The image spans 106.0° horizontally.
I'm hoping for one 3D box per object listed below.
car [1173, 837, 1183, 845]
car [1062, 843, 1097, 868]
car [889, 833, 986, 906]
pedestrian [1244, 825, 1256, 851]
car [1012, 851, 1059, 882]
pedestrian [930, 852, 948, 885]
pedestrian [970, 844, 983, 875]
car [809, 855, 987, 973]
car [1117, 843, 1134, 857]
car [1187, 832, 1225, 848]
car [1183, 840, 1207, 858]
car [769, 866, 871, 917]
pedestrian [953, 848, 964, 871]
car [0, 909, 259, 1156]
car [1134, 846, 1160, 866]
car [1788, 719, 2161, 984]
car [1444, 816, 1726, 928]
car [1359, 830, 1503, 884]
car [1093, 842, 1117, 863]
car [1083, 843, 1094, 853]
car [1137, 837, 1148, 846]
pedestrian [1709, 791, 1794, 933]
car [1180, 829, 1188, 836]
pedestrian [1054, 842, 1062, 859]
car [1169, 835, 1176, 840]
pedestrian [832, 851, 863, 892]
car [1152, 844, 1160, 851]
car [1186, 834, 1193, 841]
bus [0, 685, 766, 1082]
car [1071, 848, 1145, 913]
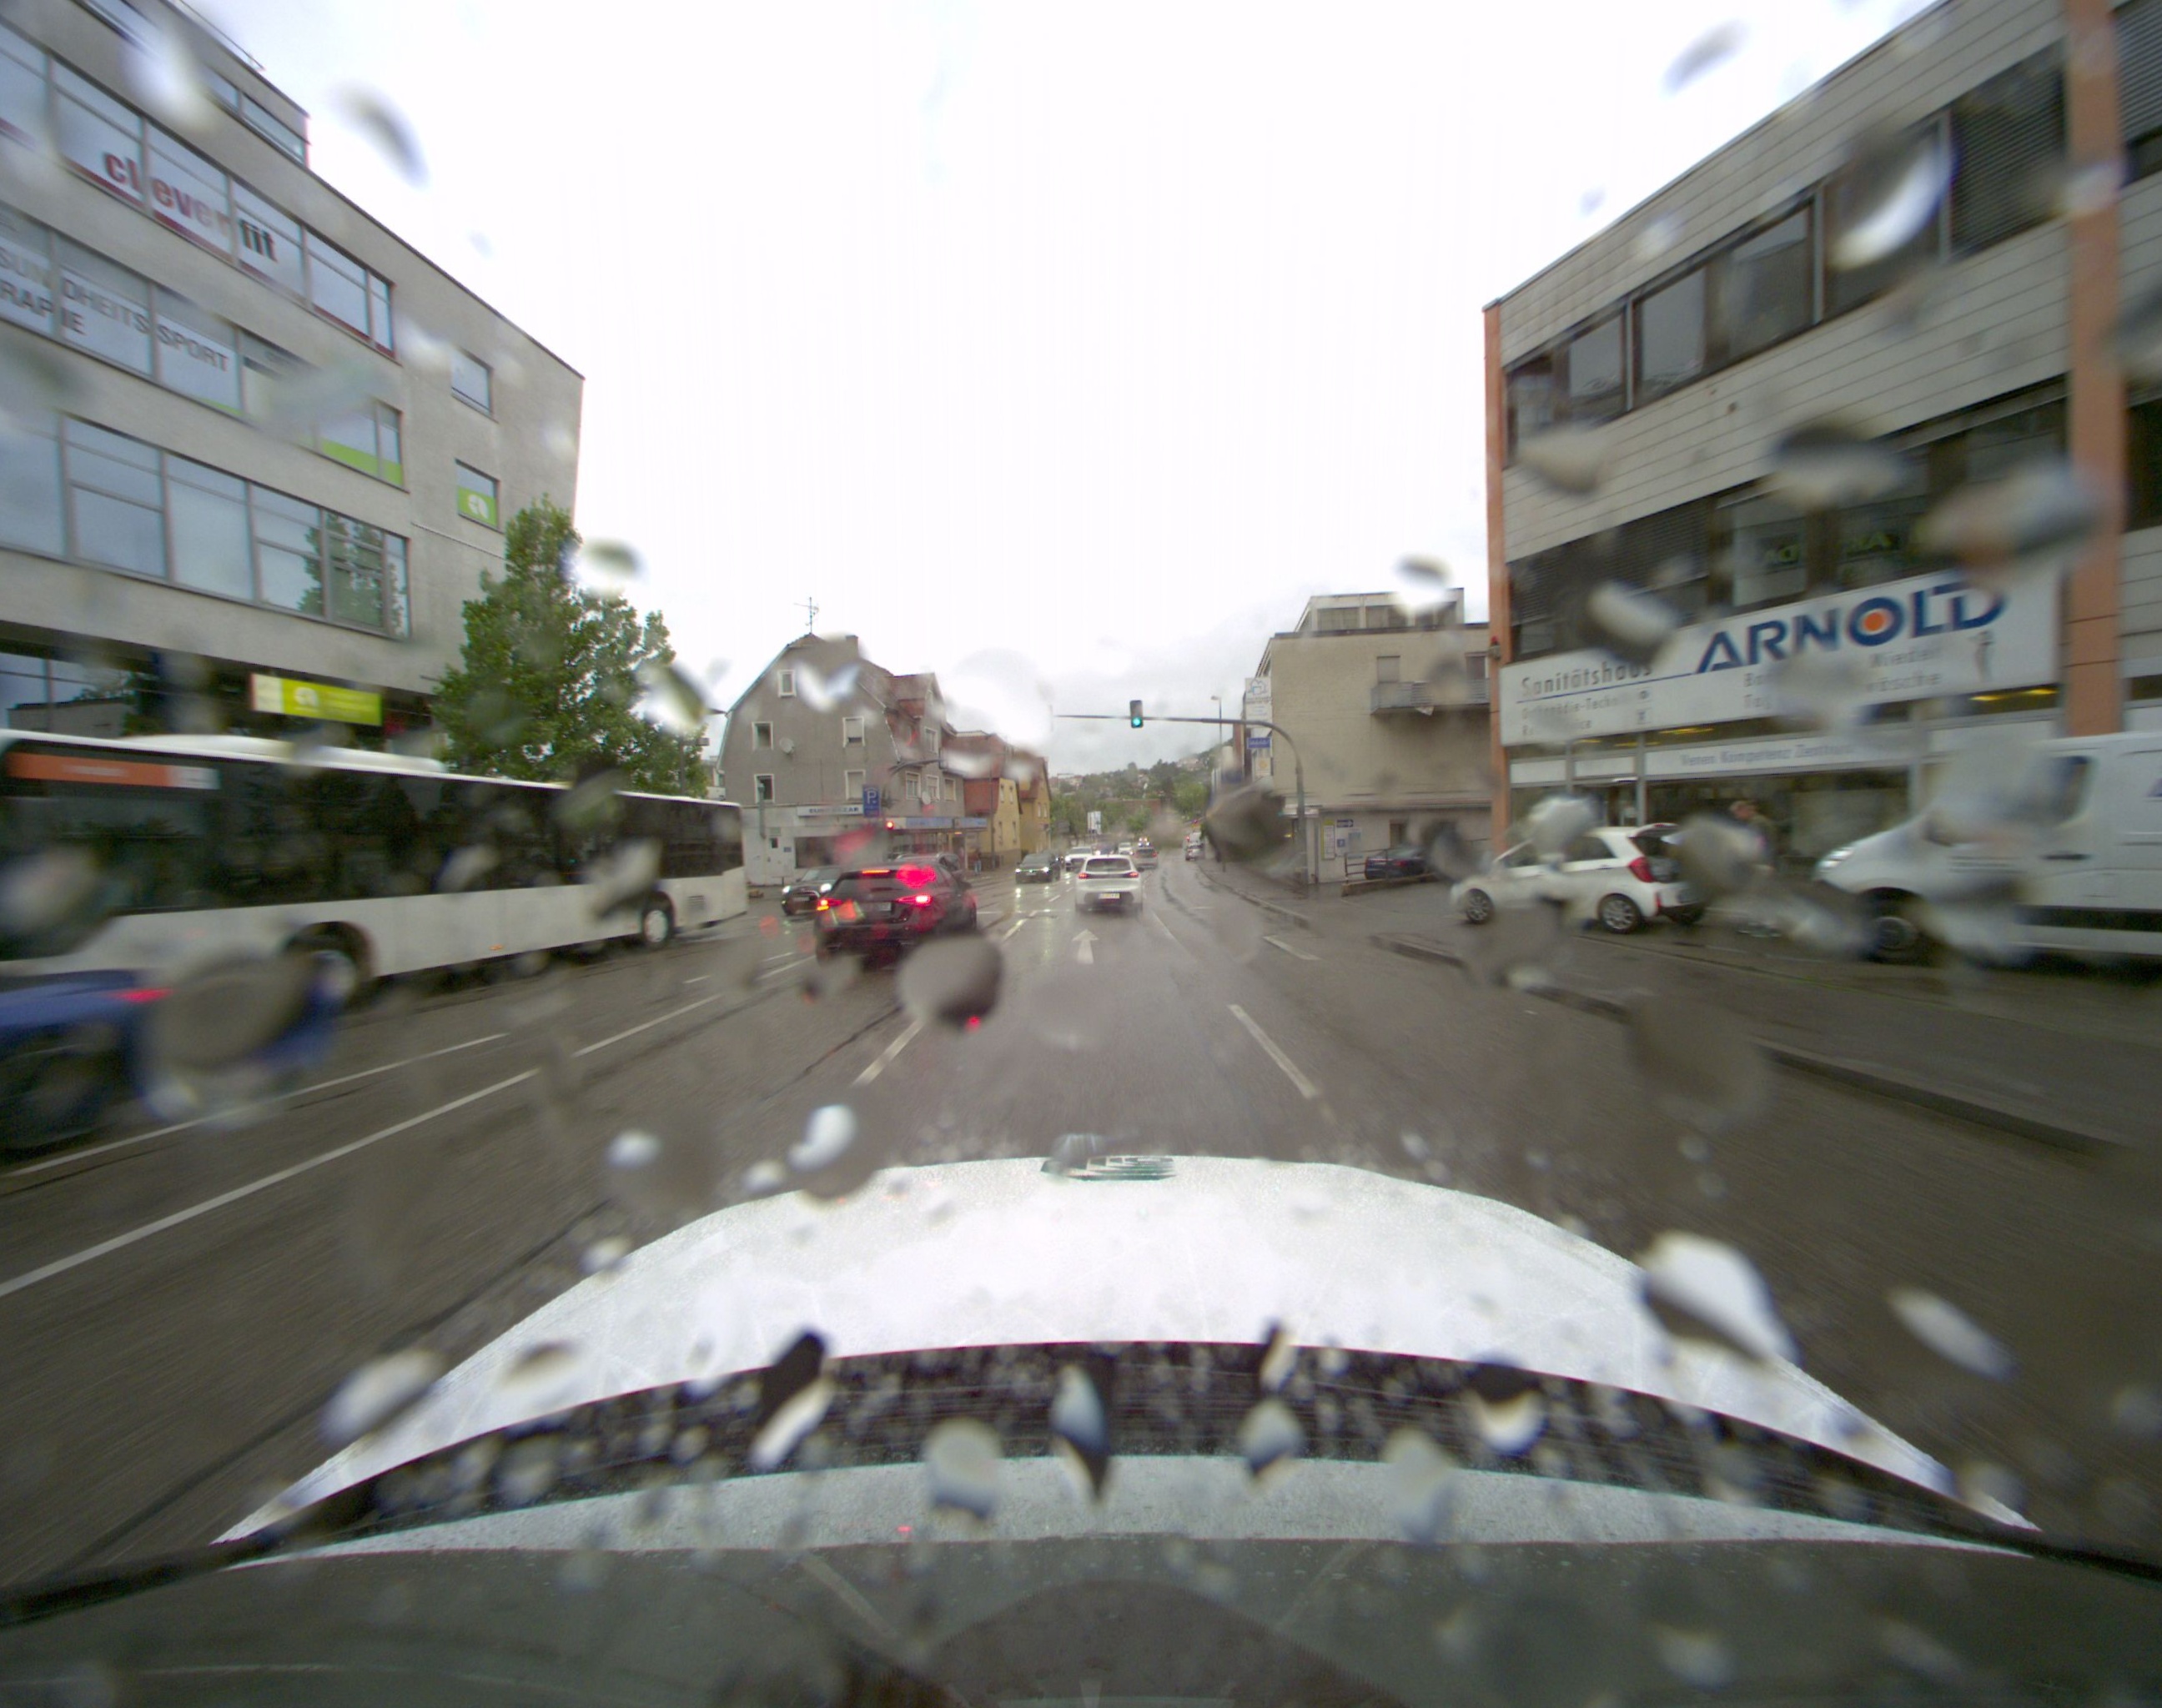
[{"bbox_3d":[17.032,-2.291,143.223,1.725,1.388,3.358,-1,1,6],"label":"car"},{"bbox_3d":[-0.069,0.097,59.171,2.089,1.712,4.855,-3,0,5],"label":"car"},{"bbox_3d":[-4.336,0.438,25.268,1.624,2.013,4.294,-3,0,8],"label":"car"},{"bbox_3d":[11.714,-1.135,56.448,0.724,1.780,0.957,-1,2,14],"label":"pedestrian"},{"bbox_3d":[-2.271,0.609,41.803,1.750,1.434,4.386,-3,0,5],"label":"car"},{"bbox_3d":[-6.116,0.627,35.013,0.576,1.394,0.561,-2,0,4],"label":"pedestrian"},{"bbox_3d":[-6.485,0.351,50.606,0.659,1.921,0.946,0,0,-1],"label":"pedestrian"},{"bbox_3d":[-2.604,0.771,12.615,1.709,1.450,4.198,-2,0,1],"label":"car"},{"bbox_3d":[5.568,-0.459,101.257,1.869,1.609,4.727,-2,0,6],"label":"car"},{"bbox_3d":[20.354,-2.238,131.970,6.661,2.382,2.271,-2,0,-42],"label":"car"},{"bbox_3d":[10.910,-0.424,78.457,2.002,1.622,4.366,-1,-1,5],"label":"car"},{"bbox_3d":[-8.003,1.121,25.262,1.632,1.337,3.607,-3,0,6],"label":"car"},{"bbox_3d":[-8.274,0.354,54.916,0.540,1.557,0.447,-2,0,7],"label":"pedestrian"},{"bbox_3d":[-6.912,1.058,3.677,1.887,1.256,4.201,-3,0,5],"label":"car"},{"bbox_3d":[4.733,0.116,58.693,1.733,1.295,3.338,-3,1,4],"label":"car"},{"bbox_3d":[9.822,-0.092,7.345,2.013,2.208,4.830,-5,4,-29],"label":"car"},{"bbox_3d":[7.636,0.254,12.686,1.618,1.462,3.398,-2,0,-22],"label":"car"},{"bbox_3d":[11.104,0.073,25.798,4.409,1.411,1.721,-4,1,-26],"label":"car"},{"bbox_3d":[2.364,-0.140,78.158,1.956,1.938,5.186,-3,0,5],"label":"car"},{"bbox_3d":[1.084,-0.861,120.133,1.364,1.313,3.045,-3,0,5],"label":"car"},{"bbox_3d":[11.425,-2.279,150.825,1.759,1.413,4.534,-3,0,6],"label":"car"},{"bbox_3d":[8.693,0.094,10.577,0.591,1.766,0.600,-2,1,-1],"label":"pedestrian"},{"bbox_3d":[29.224,-6.077,231.107,1.983,2.013,4.008,-3,0,7],"label":"car"},{"bbox_3d":[-2.401,-0.366,85.862,0.798,1.788,0.882,-2,0,-1],"label":"pedestrian"},{"bbox_3d":[21.195,-3.784,188.561,1.378,1.126,2.615,-3,0,7],"label":"car"},{"bbox_3d":[-10.740,0.788,37.439,0.920,1.788,1.235,-2,0,5],"label":"pedestrian"},{"bbox_3d":[11.823,-1.043,128.527,1.207,1.156,2.273,-2,0,4],"label":"car"},{"bbox_3d":[25.248,-3.730,189.400,1.639,1.485,3.372,-3,0,6],"label":"car"},{"bbox_3d":[-9.199,0.259,12.293,2.877,3.099,12.021,-3,0,6],"label":"bus"},{"bbox_3d":[0.812,0.642,21.618,1.683,1.519,3.938,-2,0,5],"label":"car"}]
